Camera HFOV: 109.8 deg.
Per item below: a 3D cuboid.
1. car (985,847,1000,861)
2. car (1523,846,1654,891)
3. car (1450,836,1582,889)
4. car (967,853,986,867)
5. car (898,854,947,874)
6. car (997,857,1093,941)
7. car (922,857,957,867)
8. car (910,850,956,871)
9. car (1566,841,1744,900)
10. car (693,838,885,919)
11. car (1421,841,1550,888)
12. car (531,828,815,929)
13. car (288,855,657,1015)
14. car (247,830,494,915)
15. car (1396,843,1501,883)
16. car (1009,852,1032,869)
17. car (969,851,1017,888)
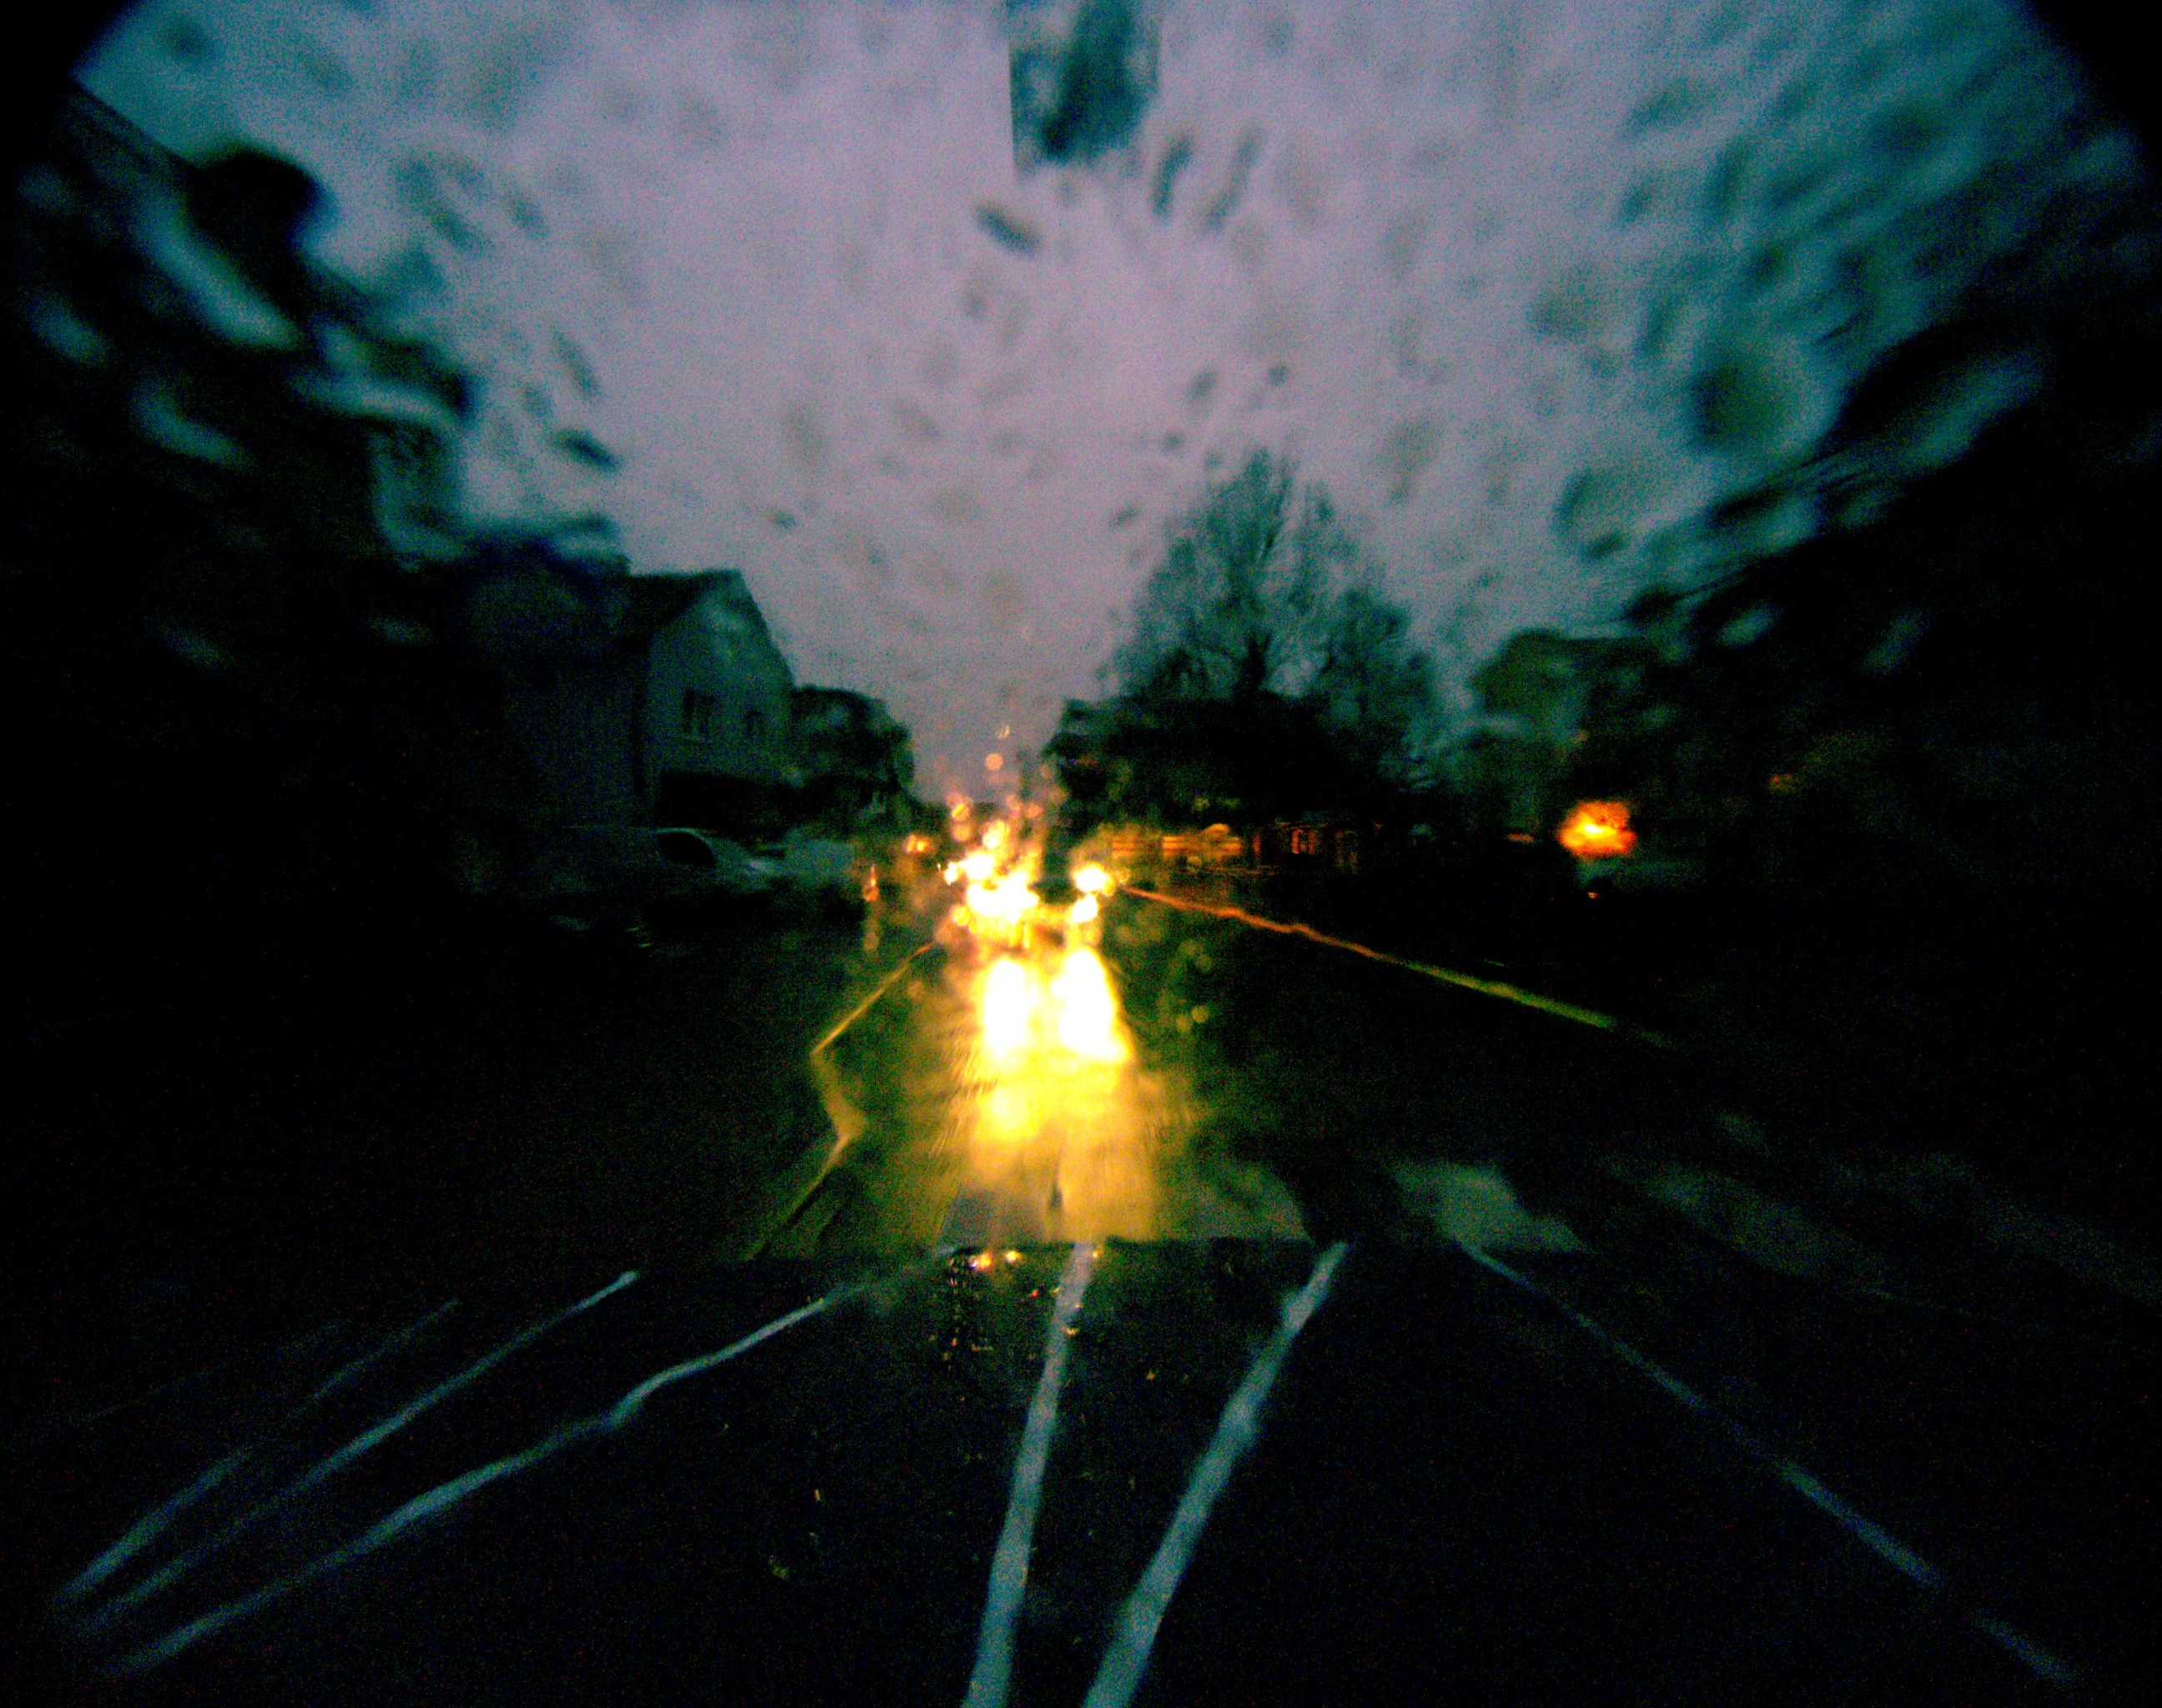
[{"bbox_3d":[-13.064,0.031,111.913,1.839,2.002,3.696,-2,0,-11],"label":"car"},{"bbox_3d":[14.682,0.438,22.166,3.047,1.213,1.613,-2,0,29],"label":"car"},{"bbox_3d":[14.220,0.291,24.993,3.625,1.602,1.613,-2,1,29],"label":"car"},{"bbox_3d":[-12.395,0.695,89.926,1.903,1.457,3.996,-2,0,-11],"label":"car"},{"bbox_3d":[-13.089,0.858,62.785,3.856,1.618,1.610,1,0,-14],"label":"car"},{"bbox_3d":[-0.846,0.834,15.827,1.732,1.475,3.602,-2,0,-6],"label":"car"},{"bbox_3d":[-16.008,0.880,86.263,3.891,1.121,1.550,0,0,-10],"label":"car"},{"bbox_3d":[-13.302,0.580,68.285,3.893,1.866,1.867,0,0,-15],"label":"car"},{"bbox_3d":[14.557,0.422,19.517,3.476,1.401,1.613,-2,0,31],"label":"car"},{"bbox_3d":[-7.144,0.576,18.908,4.053,1.832,1.863,1,1,-2],"label":"car"},{"bbox_3d":[14.714,0.380,27.866,3.991,1.623,1.637,0,0,21],"label":"car"},{"bbox_3d":[-8.521,0.489,16.157,4.992,1.878,1.937,1,0,3],"label":"car"},{"bbox_3d":[-6.229,0.771,7.970,2.769,1.465,1.427,1,1,3],"label":"car"},{"bbox_3d":[-15.847,0.375,17.065,3.995,1.613,1.881,2,1,6],"label":"car"},{"bbox_3d":[15.789,0.373,32.775,3.990,1.623,1.637,0,0,26],"label":"car"},{"bbox_3d":[-5.996,0.632,75.057,1.901,1.607,3.824,-2,0,-9],"label":"car"},{"bbox_3d":[-4.280,0.716,36.396,1.925,1.608,3.864,-2,0,-11],"label":"car"}]
